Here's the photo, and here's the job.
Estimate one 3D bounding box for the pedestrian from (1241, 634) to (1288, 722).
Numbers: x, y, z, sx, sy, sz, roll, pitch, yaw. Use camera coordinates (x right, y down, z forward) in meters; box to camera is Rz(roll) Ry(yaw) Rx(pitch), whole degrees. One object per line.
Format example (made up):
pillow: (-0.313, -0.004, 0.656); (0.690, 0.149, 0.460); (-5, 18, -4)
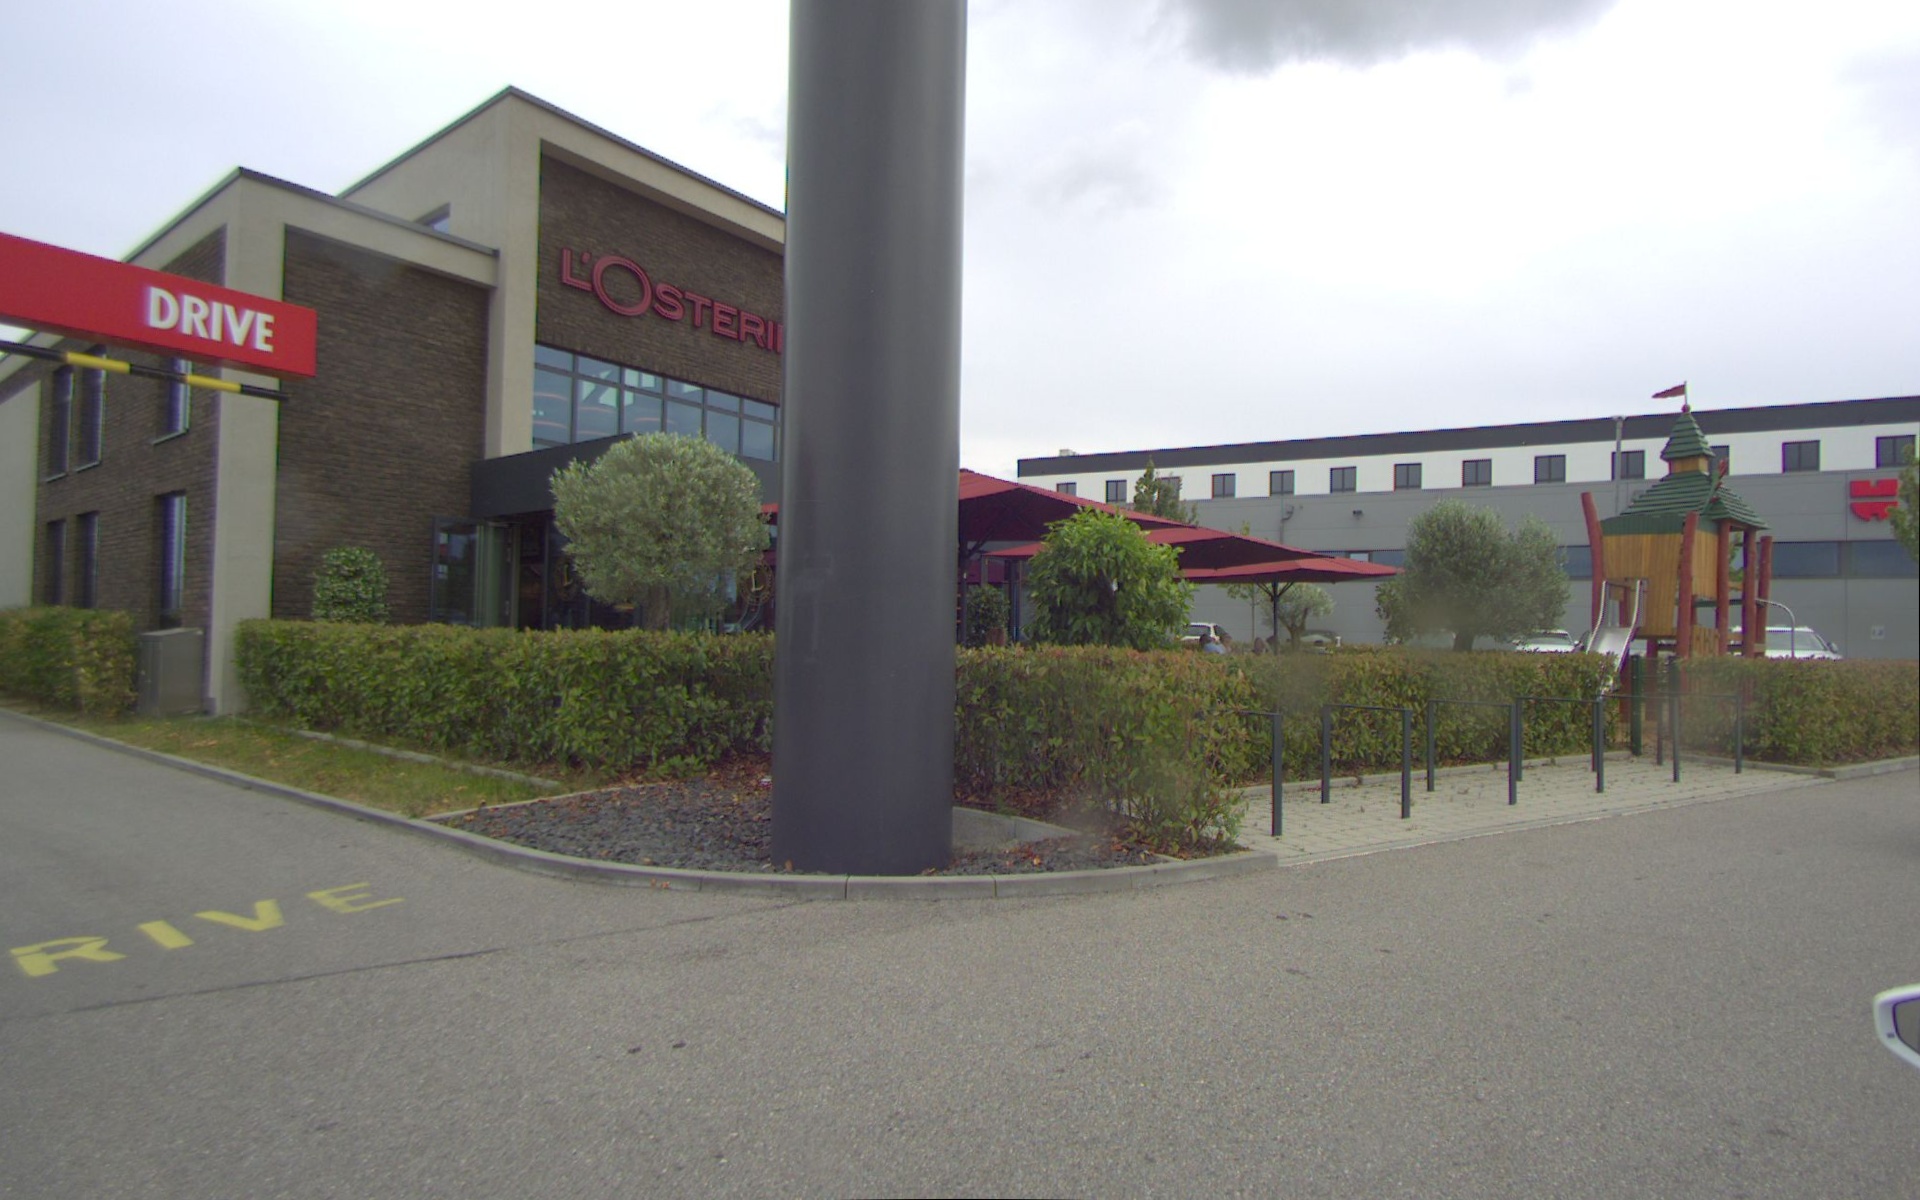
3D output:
pedestrian: (6.318, 1.598, 20.839); (0.730, 1.771, 0.702); (-2, -3, 35)

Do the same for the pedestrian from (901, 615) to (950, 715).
pedestrian: (-0.427, 0.808, 12.542); (0.415, 1.215, 0.454); (-2, -3, 43)

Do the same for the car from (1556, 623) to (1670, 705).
car: (14.845, 1.436, 22.952); (1.966, 1.672, 4.567); (-2, -3, 32)

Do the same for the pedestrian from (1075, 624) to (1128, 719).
pedestrian: (2.687, 1.346, 19.100); (0.695, 1.771, 0.737); (1, -3, -29)

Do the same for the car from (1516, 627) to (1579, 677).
car: (19.911, 1.767, 34.093); (1.711, 1.572, 4.256); (-2, -3, 30)

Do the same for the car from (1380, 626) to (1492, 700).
car: (11.930, 1.544, 25.025); (1.966, 1.672, 4.567); (-2, -3, 32)

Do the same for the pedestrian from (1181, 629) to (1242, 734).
pedestrian: (4.365, 1.404, 17.467); (0.695, 1.771, 0.737); (1, -3, -29)

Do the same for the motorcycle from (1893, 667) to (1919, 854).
motorcycle: (7.303, 1.081, 6.669); (1.891, 1.224, 0.792); (2, -2, -17)

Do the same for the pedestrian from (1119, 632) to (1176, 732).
pedestrian: (3.400, 1.474, 18.261); (0.695, 1.771, 0.737); (1, -3, -29)

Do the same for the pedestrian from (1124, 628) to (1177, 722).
pedestrian: (3.681, 1.434, 19.436); (0.695, 1.771, 0.737); (1, -3, -29)

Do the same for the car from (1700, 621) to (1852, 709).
car: (17.421, 1.368, 21.666); (1.966, 1.672, 4.567); (-2, -3, 32)

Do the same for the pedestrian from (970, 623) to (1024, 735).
pedestrian: (0.416, 0.870, 11.239); (0.415, 1.215, 0.454); (-2, -3, 43)

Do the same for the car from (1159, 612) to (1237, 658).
car: (9.372, 1.407, 39.278); (1.963, 1.659, 4.801); (-1, -3, 26)

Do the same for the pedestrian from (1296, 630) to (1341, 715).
pedestrian: (7.686, 1.540, 21.539); (0.730, 1.771, 0.702); (-2, -3, 35)
